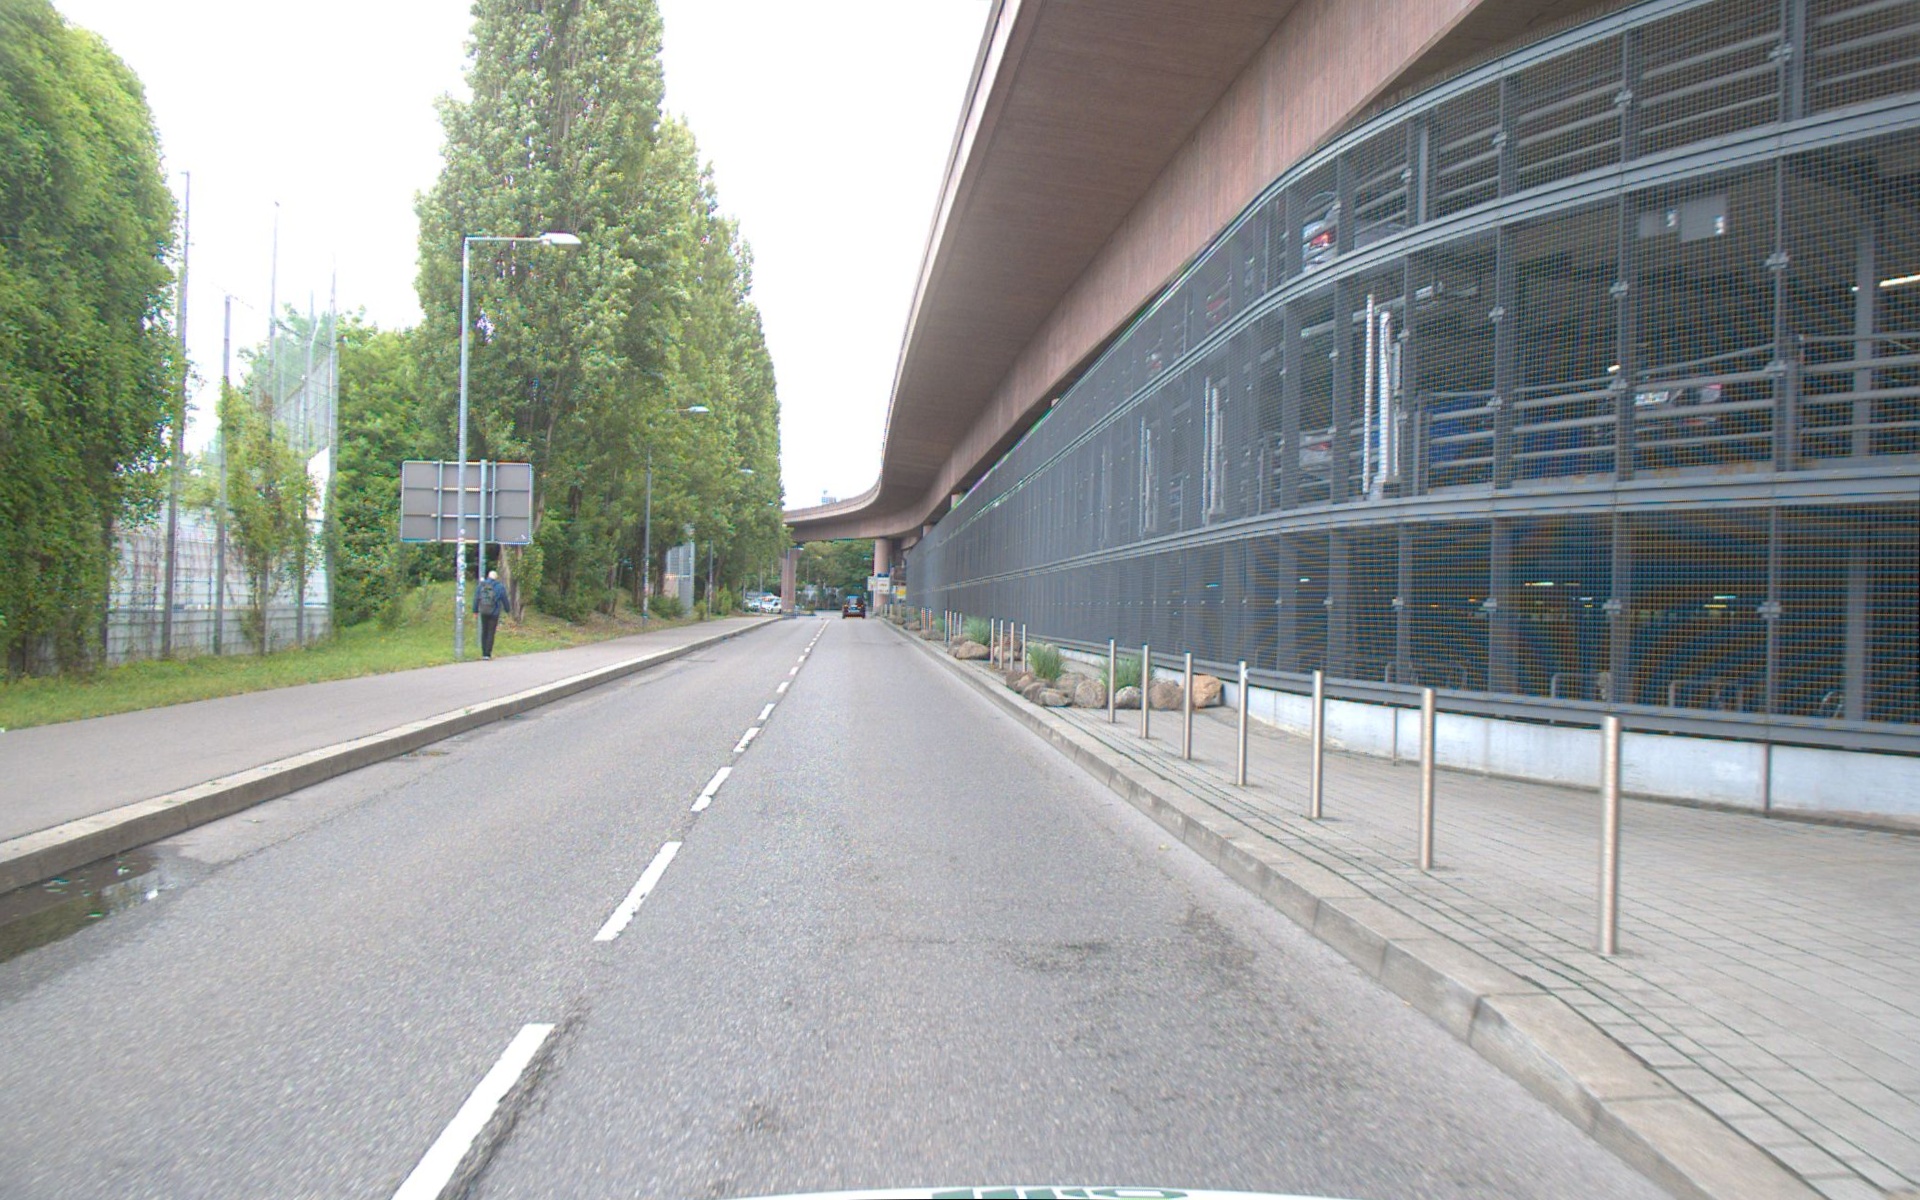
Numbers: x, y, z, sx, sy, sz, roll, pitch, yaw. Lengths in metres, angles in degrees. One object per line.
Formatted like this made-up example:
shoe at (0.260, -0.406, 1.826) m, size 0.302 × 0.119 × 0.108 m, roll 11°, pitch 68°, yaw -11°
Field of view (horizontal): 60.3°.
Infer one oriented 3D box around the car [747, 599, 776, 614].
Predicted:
car at (-25.779, 0.844, 215.135) m, size 1.692 × 1.746 × 3.657 m, roll 2°, pitch 1°, yaw 37°

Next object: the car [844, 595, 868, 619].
car at (-8.301, 0.537, 131.930) m, size 1.803 × 1.741 × 3.703 m, roll 1°, pitch 1°, yaw -4°

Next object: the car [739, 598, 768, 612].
car at (-27.285, 0.675, 218.668) m, size 1.692 × 1.746 × 3.657 m, roll 2°, pitch 1°, yaw 37°

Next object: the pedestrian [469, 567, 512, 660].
pedestrian at (-9.420, 0.262, 33.204) m, size 0.790 × 1.812 × 0.917 m, roll 1°, pitch 1°, yaw -15°

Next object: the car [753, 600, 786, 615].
car at (-24.235, 0.967, 210.853) m, size 1.849 × 1.746 × 4.136 m, roll 2°, pitch 1°, yaw 37°
